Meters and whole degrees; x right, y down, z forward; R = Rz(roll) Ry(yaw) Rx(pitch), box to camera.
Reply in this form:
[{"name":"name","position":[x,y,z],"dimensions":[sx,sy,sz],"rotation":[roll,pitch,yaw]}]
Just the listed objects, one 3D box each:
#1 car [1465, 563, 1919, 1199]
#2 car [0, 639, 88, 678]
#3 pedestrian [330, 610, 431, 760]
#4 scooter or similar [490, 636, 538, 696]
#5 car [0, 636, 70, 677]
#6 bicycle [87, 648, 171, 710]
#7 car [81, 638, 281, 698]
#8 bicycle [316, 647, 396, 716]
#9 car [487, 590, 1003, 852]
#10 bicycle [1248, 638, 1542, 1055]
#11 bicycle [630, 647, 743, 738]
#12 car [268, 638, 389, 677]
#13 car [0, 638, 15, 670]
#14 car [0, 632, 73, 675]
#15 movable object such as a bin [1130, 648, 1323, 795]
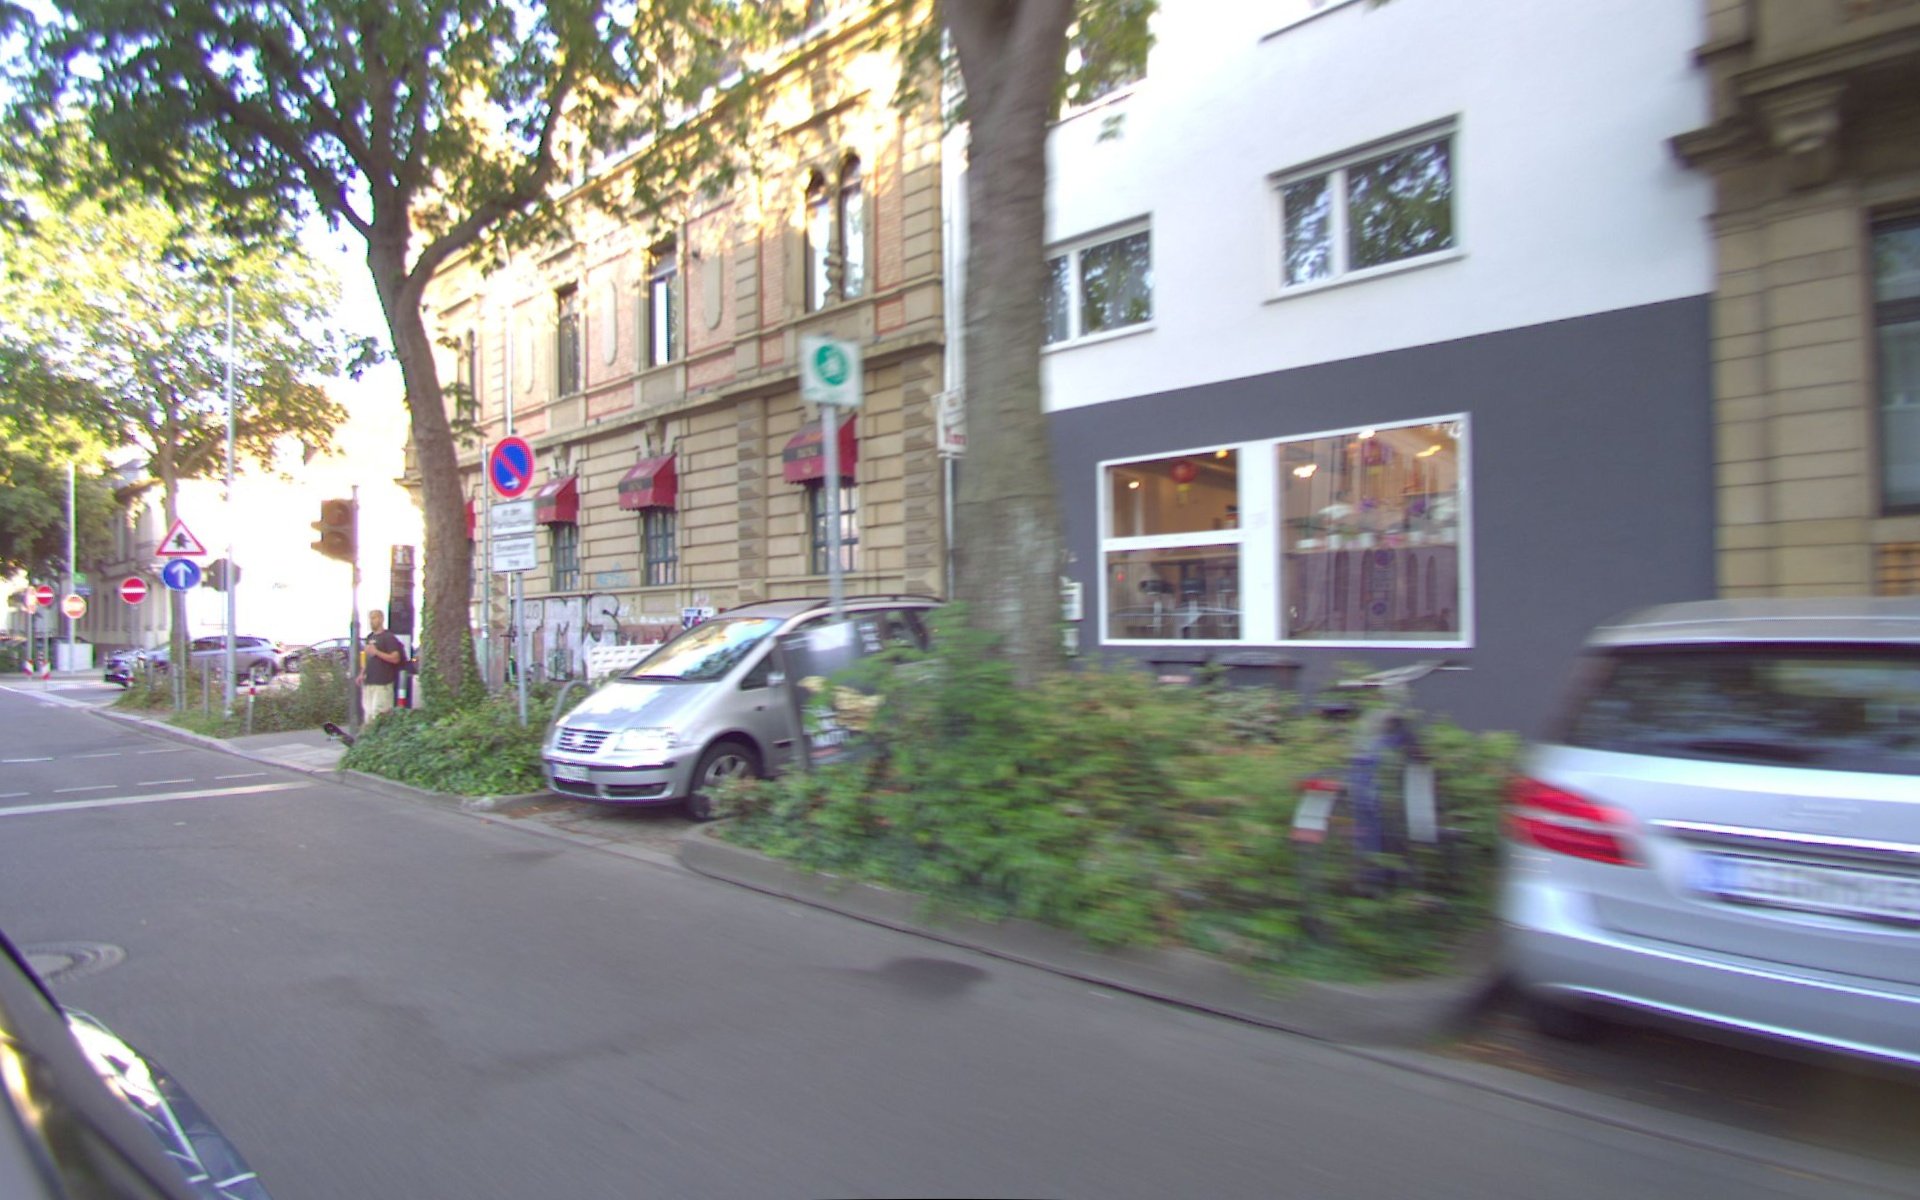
[{"name":"car","position":[3.646,0.708,3.973],"dimensions":[1.827,1.569,4.124],"rotation":[-2,-2,44]},{"name":"car","position":[-41.583,2.586,44.970],"dimensions":[1.795,1.682,3.955],"rotation":[-2,-2,33]},{"name":"pedestrian","position":[-7.137,1.023,12.497],"dimensions":[0.756,1.790,0.830],"rotation":[0,-1,3]},{"name":"scooter or similar","position":[-9.288,1.374,21.064],"dimensions":[1.273,1.207,0.380],"rotation":[-4,-2,42]},{"name":"car","position":[-43.798,2.581,46.546],"dimensions":[1.795,1.825,3.955],"rotation":[-2,-2,33]},{"name":"bicycle","position":[-18.427,1.733,22.498],"dimensions":[0.793,1.234,2.425],"rotation":[-4,-1,-25]},{"name":"car","position":[-23.068,1.946,30.170],"dimensions":[1.939,1.582,4.318],"rotation":[0,-2,28]},{"name":"bicycle","position":[-10.563,1.406,17.673],"dimensions":[1.796,1.116,0.494],"rotation":[-2,0,36]},{"name":"car","position":[-1.683,0.838,9.249],"dimensions":[1.888,1.735,4.381],"rotation":[-2,0,39]},{"name":"bicycle","position":[1.926,0.853,4.314],"dimensions":[0.772,1.336,1.779],"rotation":[-2,-2,35]},{"name":"bicycle","position":[-3.696,1.205,13.599],"dimensions":[1.799,1.116,0.493],"rotation":[-2,0,40]},{"name":"car","position":[-26.957,2.442,43.377],"dimensions":[4.197,1.542,1.839],"rotation":[0,-2,-25]},{"name":"car","position":[-53.485,2.934,54.117],"dimensions":[1.994,1.722,3.955],"rotation":[-2,-2,33]},{"name":"car","position":[-45.389,2.550,48.499],"dimensions":[1.994,1.966,3.955],"rotation":[-2,-2,33]},{"name":"movable object such as a bin","position":[2.169,0.939,8.282],"dimensions":[1.316,1.070,0.766],"rotation":[-2,-2,41]}]
